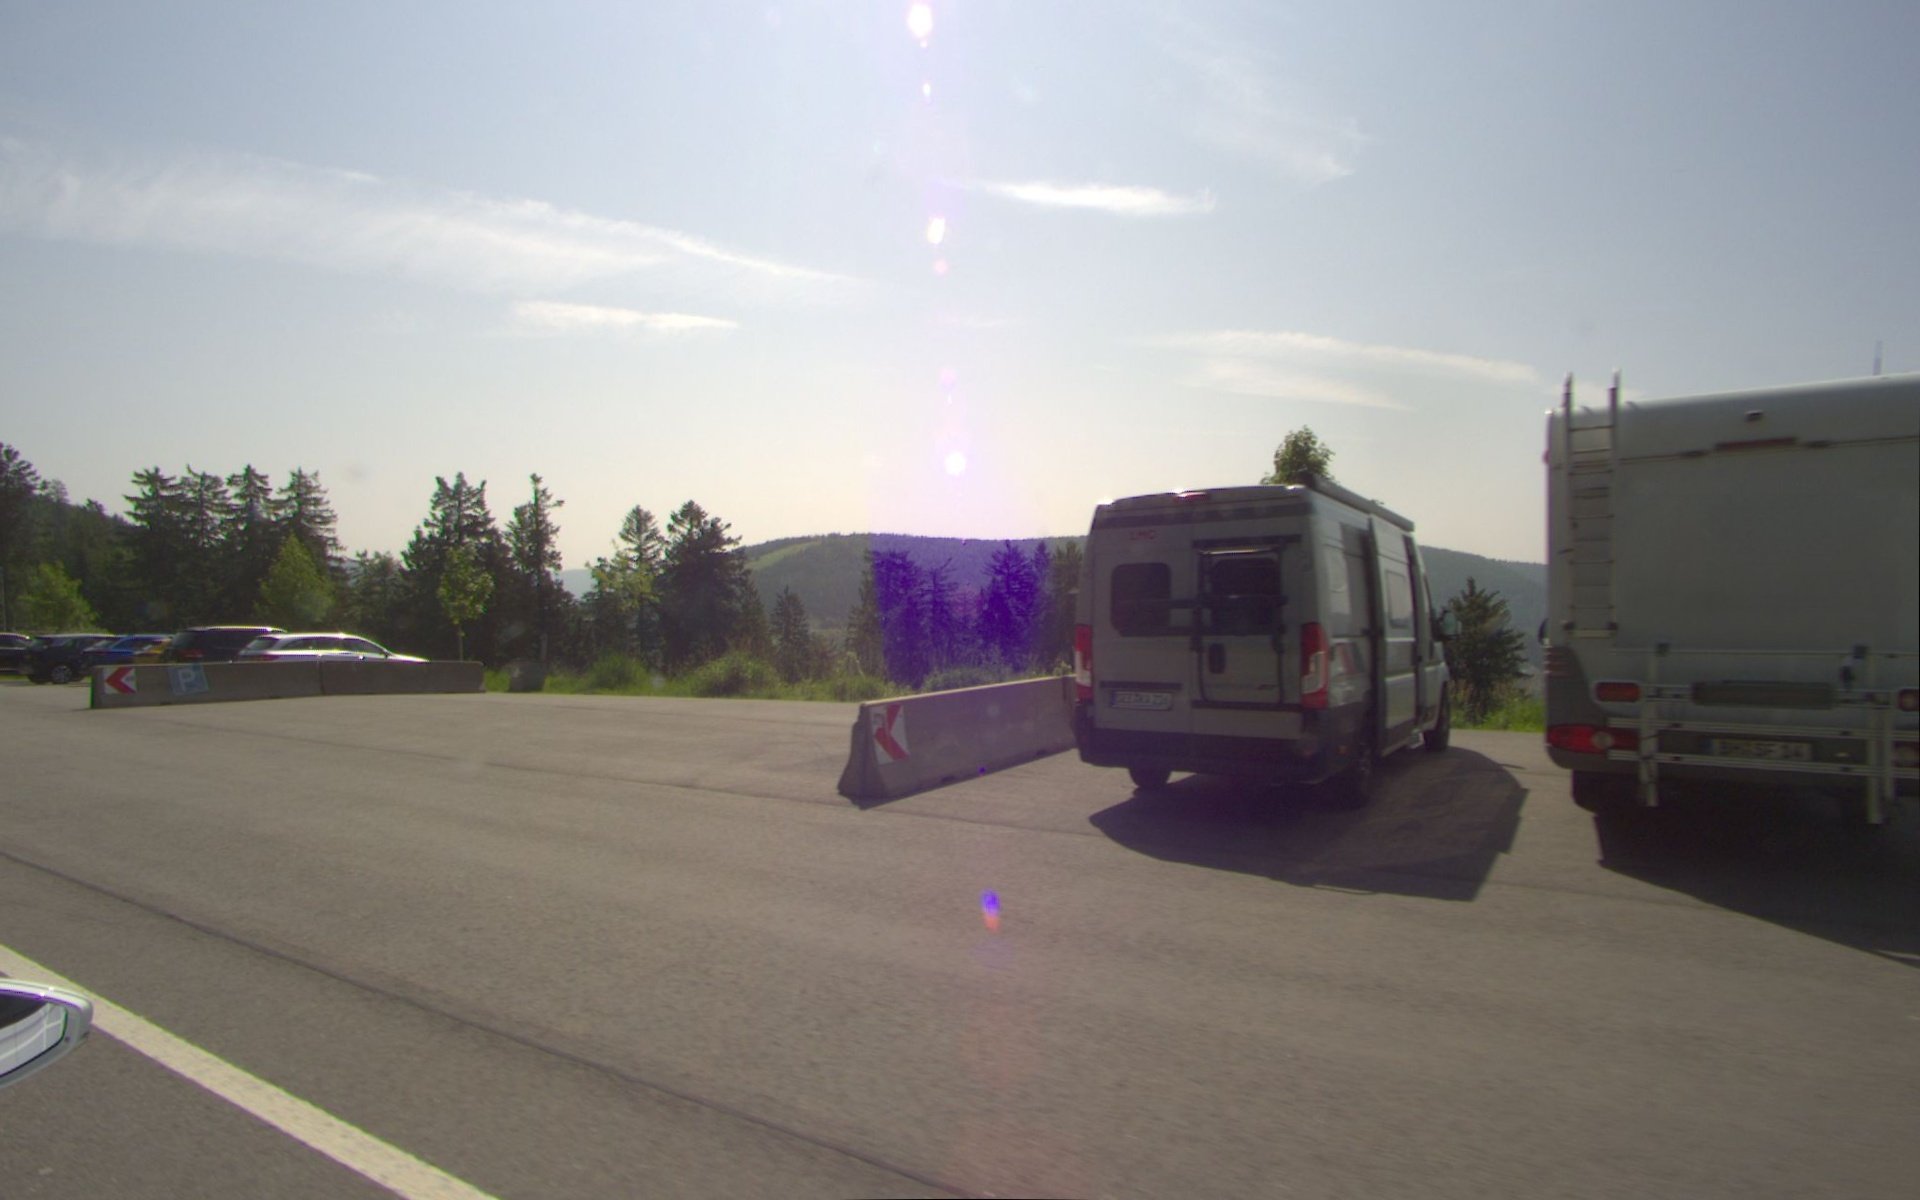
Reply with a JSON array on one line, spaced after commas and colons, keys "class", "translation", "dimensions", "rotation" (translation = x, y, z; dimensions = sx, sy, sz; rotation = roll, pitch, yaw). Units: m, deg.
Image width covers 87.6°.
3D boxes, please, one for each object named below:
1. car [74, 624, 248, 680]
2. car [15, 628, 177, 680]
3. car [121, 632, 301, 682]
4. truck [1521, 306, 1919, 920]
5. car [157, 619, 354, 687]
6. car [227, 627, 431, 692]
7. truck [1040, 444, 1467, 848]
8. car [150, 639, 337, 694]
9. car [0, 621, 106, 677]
[{"class": "car", "translation": [-25.396, 1.594, 31.962], "dimensions": [1.779, 1.556, 3.982], "rotation": [3, 1, 30]}, {"class": "car", "translation": [-28.525, 1.725, 33.176], "dimensions": [1.575, 1.587, 3.750], "rotation": [-1, -1, 28]}, {"class": "car", "translation": [-22.585, 1.674, 30.328], "dimensions": [1.959, 1.370, 3.979], "rotation": [-1, -1, 33]}, {"class": "truck", "translation": [6.110, 0.084, 8.188], "dimensions": [2.495, 3.238, 6.053], "rotation": [-1, 0, 31]}, {"class": "car", "translation": [-18.591, 1.404, 26.617], "dimensions": [1.576, 1.667, 3.984], "rotation": [-1, -3, 30]}, {"class": "car", "translation": [-15.829, 1.475, 25.323], "dimensions": [1.747, 1.494, 3.983], "rotation": [-1, -3, 31]}, {"class": "truck", "translation": [3.285, 0.313, 9.761], "dimensions": [2.307, 2.625, 6.246], "rotation": [0, 0, 33]}, {"class": "car", "translation": [-20.507, 1.903, 28.810], "dimensions": [1.739, 1.454, 3.992], "rotation": [-1, -4, 33]}, {"class": "car", "translation": [-31.682, 1.616, 33.599], "dimensions": [1.864, 1.817, 4.257], "rotation": [0, -1, 31]}]
